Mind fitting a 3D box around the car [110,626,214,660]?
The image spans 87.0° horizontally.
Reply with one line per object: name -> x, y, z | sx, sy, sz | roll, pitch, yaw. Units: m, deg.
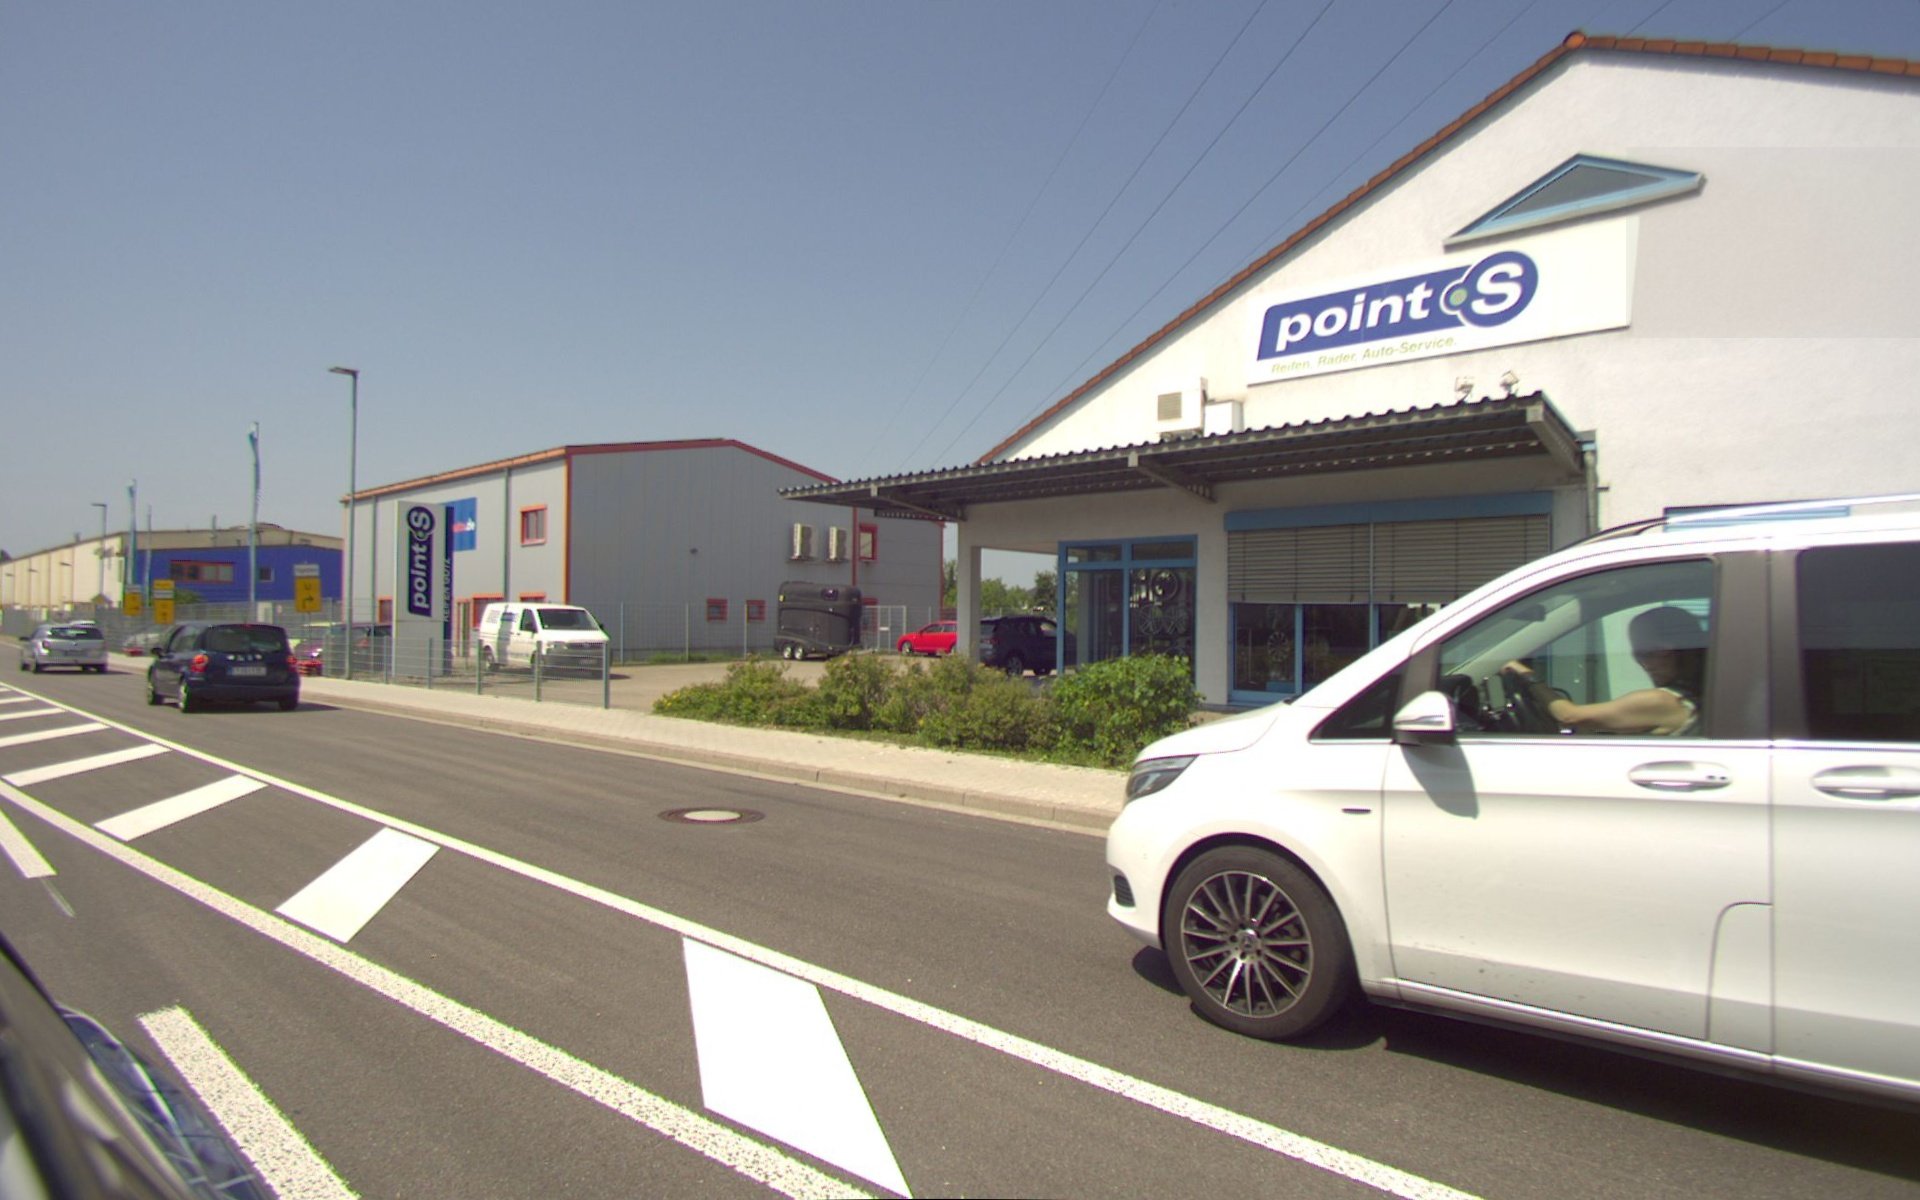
car -> -36.534, 1.947, 46.437 | 1.576, 1.476, 3.469 | 0, -2, 16

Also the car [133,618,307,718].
car -> -13.454, 1.186, 18.327 | 3.971, 1.612, 1.651 | -1, -4, 41

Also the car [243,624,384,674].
car -> -20.899, 1.552, 32.929 | 1.722, 1.505, 4.086 | 0, -2, 6

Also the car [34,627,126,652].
car -> -55.241, 2.478, 63.602 | 4.091, 1.514, 1.780 | 1, -3, -31

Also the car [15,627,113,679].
car -> -27.246, 1.590, 30.718 | 4.258, 1.477, 1.745 | -2, -4, 43

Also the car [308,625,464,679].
car -> -16.836, 1.487, 29.914 | 1.728, 1.505, 3.979 | -1, -2, 15

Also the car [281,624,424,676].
car -> -18.938, 1.520, 31.755 | 1.724, 1.505, 3.989 | 0, -2, 8

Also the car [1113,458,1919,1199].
car -> 3.225, 0.637, 3.136 | 5.165, 1.888, 1.973 | -1, -4, 40

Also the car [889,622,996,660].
car -> -0.743, 1.630, 40.338 | 4.191, 1.459, 1.759 | -2, -3, 41

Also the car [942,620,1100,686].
car -> 1.565, 1.286, 25.063 | 1.785, 1.497, 3.942 | -2, -3, 44

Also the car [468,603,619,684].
car -> -11.424, 1.134, 27.623 | 4.680, 2.029, 1.972 | -1, -2, 43

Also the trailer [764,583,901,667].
trailer -> -4.695, 0.862, 36.841 | 5.122, 2.870, 2.140 | 0, -1, 41

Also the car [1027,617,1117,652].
car -> 5.483, 1.703, 49.863 | 4.191, 1.627, 1.759 | -2, -3, 41
